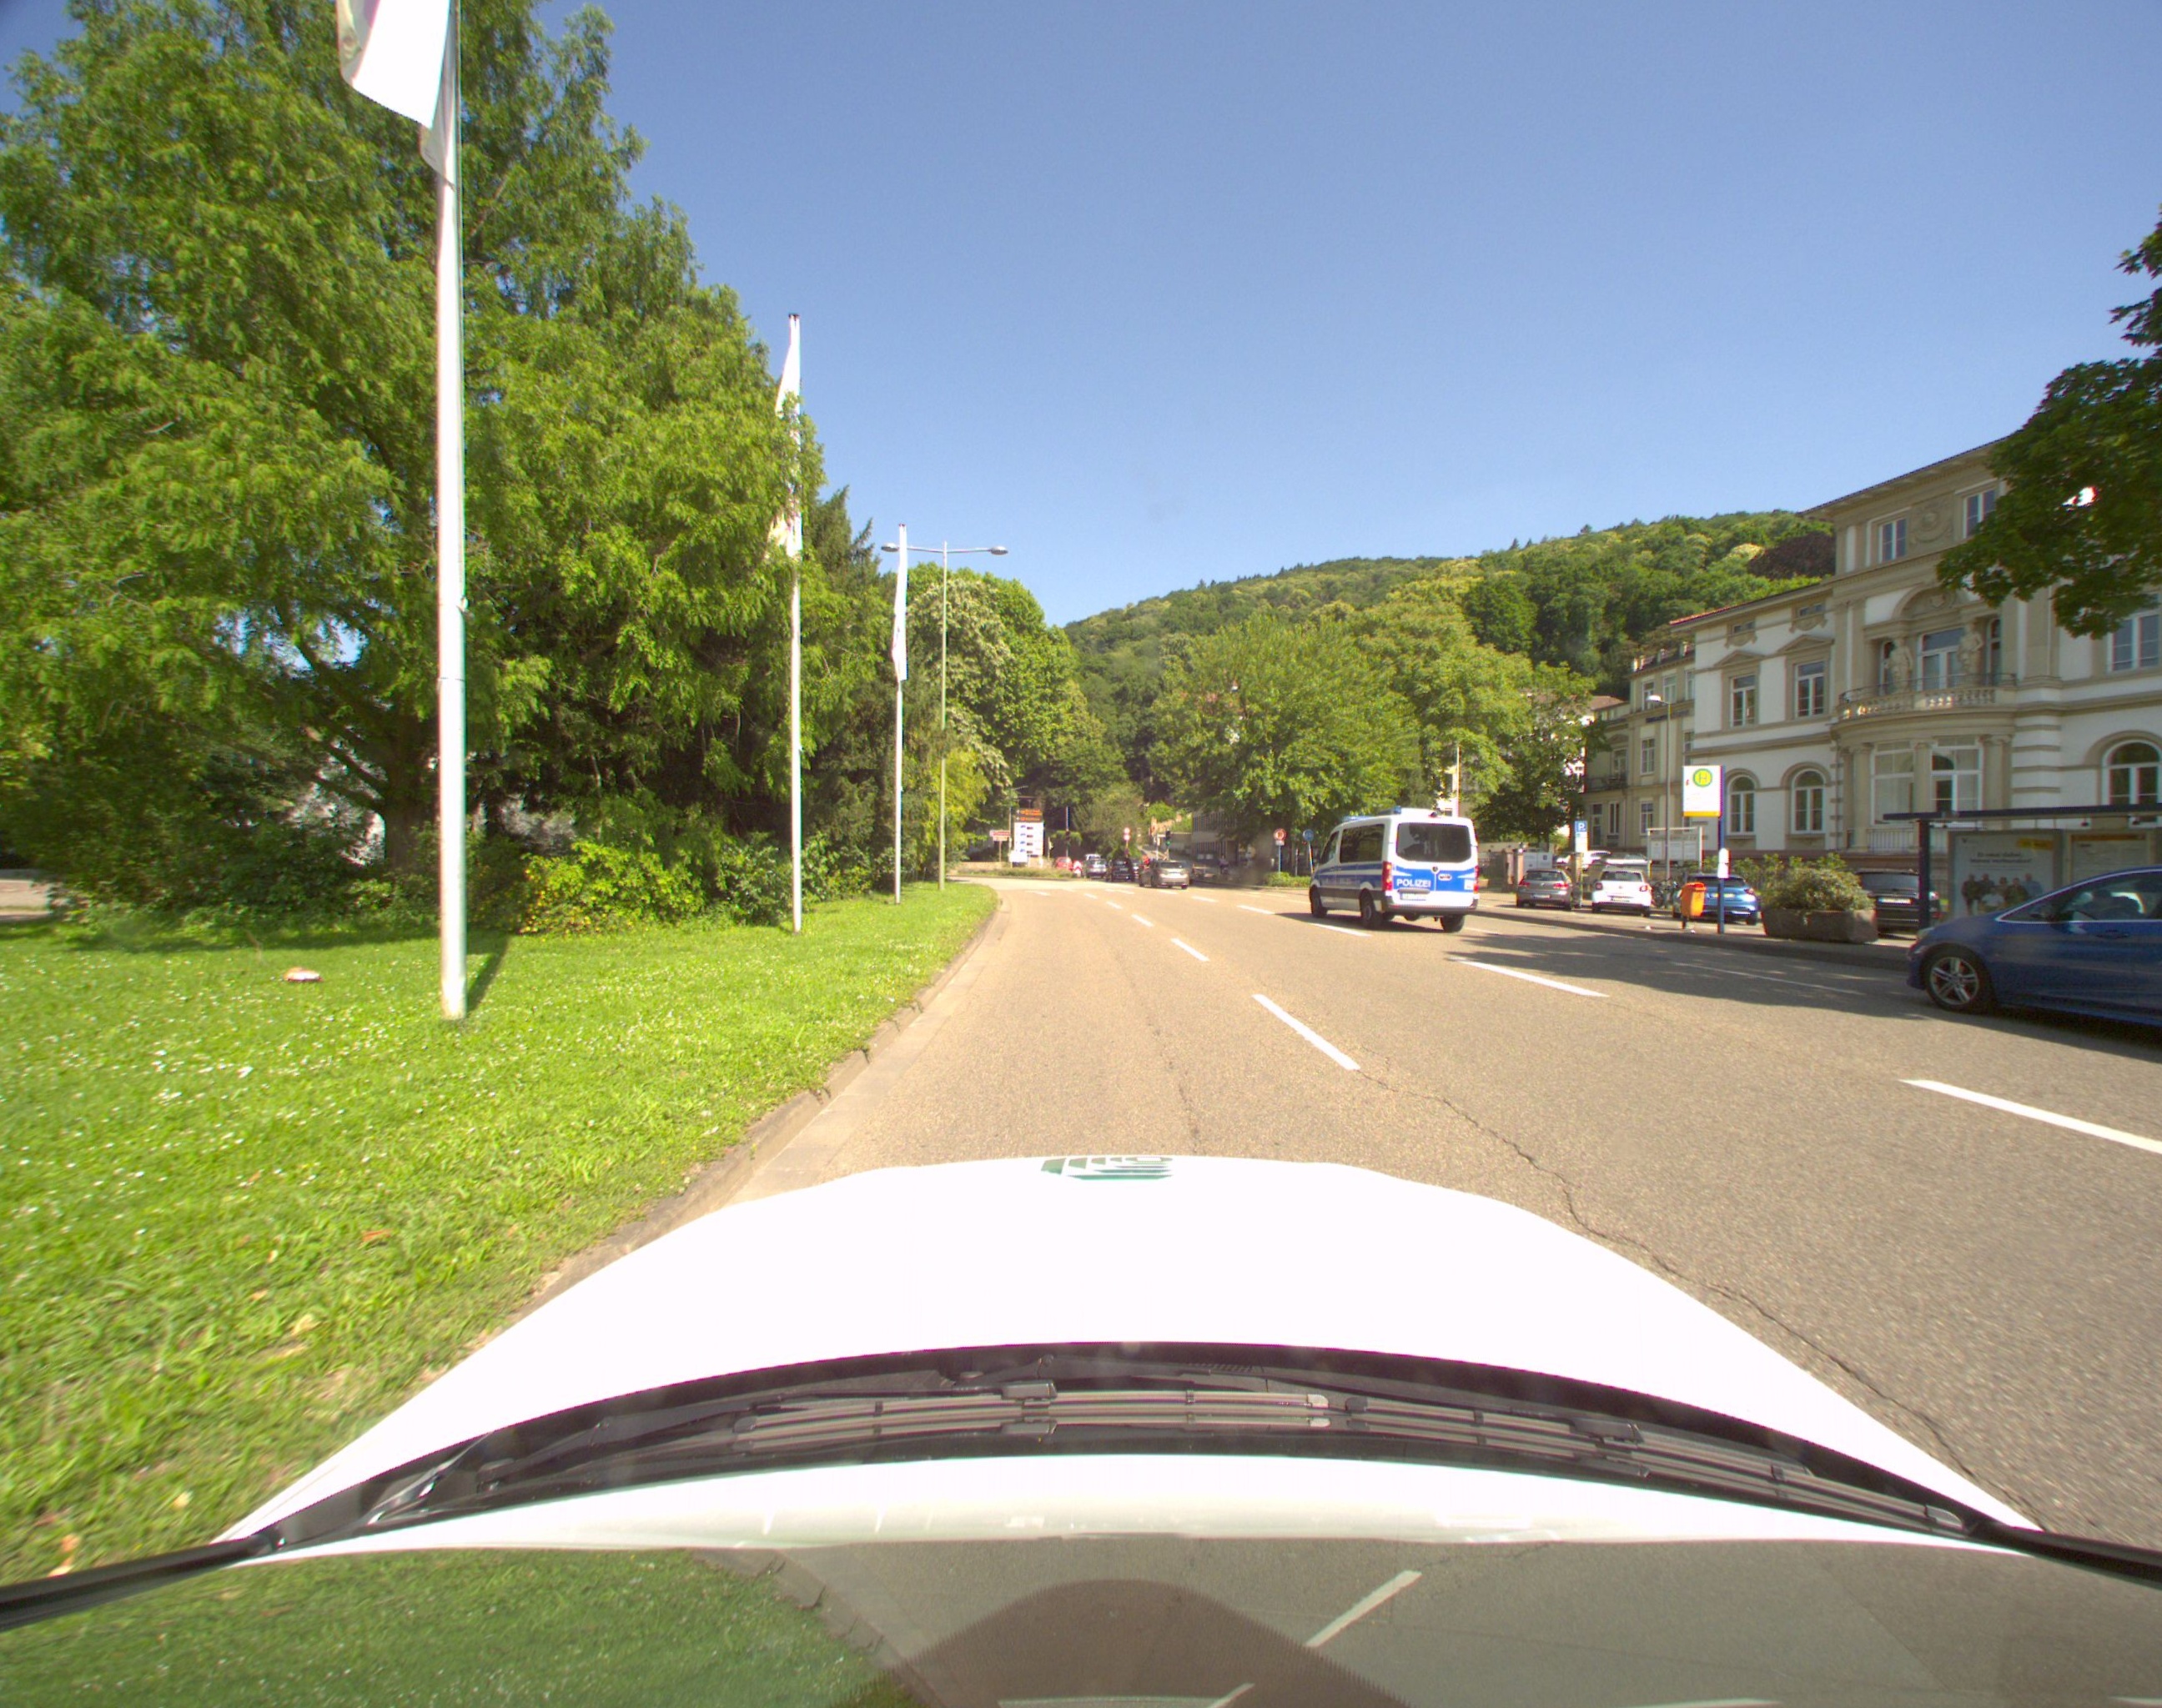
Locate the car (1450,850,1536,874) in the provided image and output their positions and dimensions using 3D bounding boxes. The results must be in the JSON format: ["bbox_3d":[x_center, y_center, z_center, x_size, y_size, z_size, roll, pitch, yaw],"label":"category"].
[{"bbox_3d":[23.376,0.456,46.240,4.038,1.336,1.855,0,0,-8],"label":"car"}]

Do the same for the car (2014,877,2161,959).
[{"bbox_3d":[20.647,1.251,16.745,1.186,1.482,2.302,1,0,28],"label":"car"}]

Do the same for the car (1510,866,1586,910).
[{"bbox_3d":[17.105,1.180,29.750,1.804,1.461,4.133,1,0,38],"label":"car"}]

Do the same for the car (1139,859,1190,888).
[{"bbox_3d":[4.120,0.959,40.679,1.754,1.334,3.793,1,0,-7],"label":"car"}]

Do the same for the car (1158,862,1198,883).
[{"bbox_3d":[5.985,1.117,50.567,1.754,1.213,3.487,1,0,-6],"label":"car"}]

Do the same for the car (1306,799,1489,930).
[{"bbox_3d":[6.829,0.228,18.282,2.068,2.508,4.925,1,-1,-2],"label":"car"}]

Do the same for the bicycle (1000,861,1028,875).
[{"bbox_3d":[-5.444,1.149,66.213,2.059,1.112,0.760,1,0,19],"label":"bicycle"}]

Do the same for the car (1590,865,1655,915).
[{"bbox_3d":[18.258,1.157,27.436,1.691,1.511,3.835,1,0,34],"label":"car"}]

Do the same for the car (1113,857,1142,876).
[{"bbox_3d":[3.668,0.987,64.821,1.754,1.461,3.638,1,0,-6],"label":"car"}]

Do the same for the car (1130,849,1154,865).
[{"bbox_3d":[6.430,0.318,86.543,1.929,1.697,3.992,0,-1,-6],"label":"car"}]

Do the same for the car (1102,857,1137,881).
[{"bbox_3d":[2.422,0.922,52.607,1.754,1.461,3.487,1,0,-6],"label":"car"}]

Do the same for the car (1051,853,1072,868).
[{"bbox_3d":[-1.891,0.620,78.337,1.754,1.461,3.487,1,0,-6],"label":"car"}]

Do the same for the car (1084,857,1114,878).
[{"bbox_3d":[1.298,0.989,60.080,1.754,1.461,3.638,1,0,-6],"label":"car"}]

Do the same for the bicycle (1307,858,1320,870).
[{"bbox_3d":[20.814,0.877,72.808,0.536,1.085,1.832,0,0,-4],"label":"bicycle"}]

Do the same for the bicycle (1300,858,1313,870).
[{"bbox_3d":[20.139,0.877,72.744,0.536,1.085,1.832,0,0,-4],"label":"bicycle"}]

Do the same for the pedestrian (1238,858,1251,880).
[{"bbox_3d":[12.567,1.128,62.632,0.770,1.663,0.828,1,0,-5],"label":"pedestrian"}]

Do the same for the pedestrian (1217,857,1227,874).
[{"bbox_3d":[11.639,0.949,67.334,0.490,1.458,0.730,0,-1,-18],"label":"pedestrian"}]

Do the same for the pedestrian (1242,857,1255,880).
[{"bbox_3d":[12.659,1.088,61.491,0.770,1.663,0.828,1,0,-5],"label":"pedestrian"}]

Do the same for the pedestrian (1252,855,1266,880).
[{"bbox_3d":[13.420,1.022,61.384,0.769,1.854,0.828,1,0,-5],"label":"pedestrian"}]

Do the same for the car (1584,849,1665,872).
[{"bbox_3d":[33.691,0.410,50.535,4.047,1.419,1.816,0,0,-8],"label":"car"}]

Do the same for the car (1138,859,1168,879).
[{"bbox_3d":[5.708,1.178,64.972,1.754,1.461,3.487,1,0,-6],"label":"car"}]

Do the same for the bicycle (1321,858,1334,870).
[{"bbox_3d":[22.051,0.877,72.947,0.536,1.085,1.832,0,0,-4],"label":"bicycle"}]

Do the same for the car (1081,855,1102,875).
[{"bbox_3d":[1.039,1.111,82.758,1.754,1.938,3.487,1,0,-6],"label":"car"}]

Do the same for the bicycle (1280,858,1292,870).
[{"bbox_3d":[18.281,0.879,72.708,0.536,1.085,1.832,0,0,-4],"label":"bicycle"}]

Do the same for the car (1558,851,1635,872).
[{"bbox_3d":[33.646,0.474,53.198,4.074,1.336,1.816,0,0,-8],"label":"car"}]

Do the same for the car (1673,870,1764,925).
[{"bbox_3d":[18.997,1.226,24.410,1.692,1.442,3.835,1,0,31],"label":"car"}]

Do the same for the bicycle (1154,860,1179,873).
[{"bbox_3d":[7.184,1.063,68.718,2.066,1.112,0.758,1,0,6],"label":"bicycle"}]

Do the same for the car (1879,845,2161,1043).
[{"bbox_3d":[9.370,0.730,6.730,1.710,1.541,4.280,2,0,7],"label":"car"}]

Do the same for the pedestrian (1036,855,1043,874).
[{"bbox_3d":[-3.664,0.928,72.017,0.544,1.621,0.635,0,0,3],"label":"pedestrian"}]

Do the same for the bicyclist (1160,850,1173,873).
[{"bbox_3d":[7.224,0.658,68.705,1.120,1.932,0.749,1,-1,7],"label":"bicyclist"}]

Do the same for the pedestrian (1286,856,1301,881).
[{"bbox_3d":[15.746,1.067,60.410,0.770,1.854,0.827,1,0,-7],"label":"pedestrian"}]

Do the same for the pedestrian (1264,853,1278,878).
[{"bbox_3d":[14.209,0.875,60.828,0.770,1.854,0.827,1,0,-7],"label":"pedestrian"}]

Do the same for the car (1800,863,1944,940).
[{"bbox_3d":[19.740,1.100,20.532,1.692,1.696,4.301,1,0,31],"label":"car"}]

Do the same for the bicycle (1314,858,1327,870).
[{"bbox_3d":[21.408,0.877,72.877,0.536,1.085,1.832,0,0,-4],"label":"bicycle"}]

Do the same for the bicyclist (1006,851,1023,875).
[{"bbox_3d":[-5.409,0.737,66.207,1.117,1.932,0.752,0,-1,19],"label":"bicyclist"}]

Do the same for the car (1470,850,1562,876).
[{"bbox_3d":[23.418,0.481,43.912,4.038,1.336,1.986,0,0,-8],"label":"car"}]

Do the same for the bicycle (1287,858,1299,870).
[{"bbox_3d":[18.923,0.878,72.750,0.536,1.085,1.832,0,0,-4],"label":"bicycle"}]

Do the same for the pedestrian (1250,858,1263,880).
[{"bbox_3d":[13.405,1.136,62.244,0.769,1.663,0.828,1,0,-4],"label":"pedestrian"}]

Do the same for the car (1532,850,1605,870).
[{"bbox_3d":[33.216,0.434,55.506,4.038,1.336,1.816,0,0,-8],"label":"car"}]

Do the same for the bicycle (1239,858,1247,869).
[{"bbox_3d":[15.456,0.943,77.902,0.404,1.012,1.339,0,0,-5],"label":"bicycle"}]
